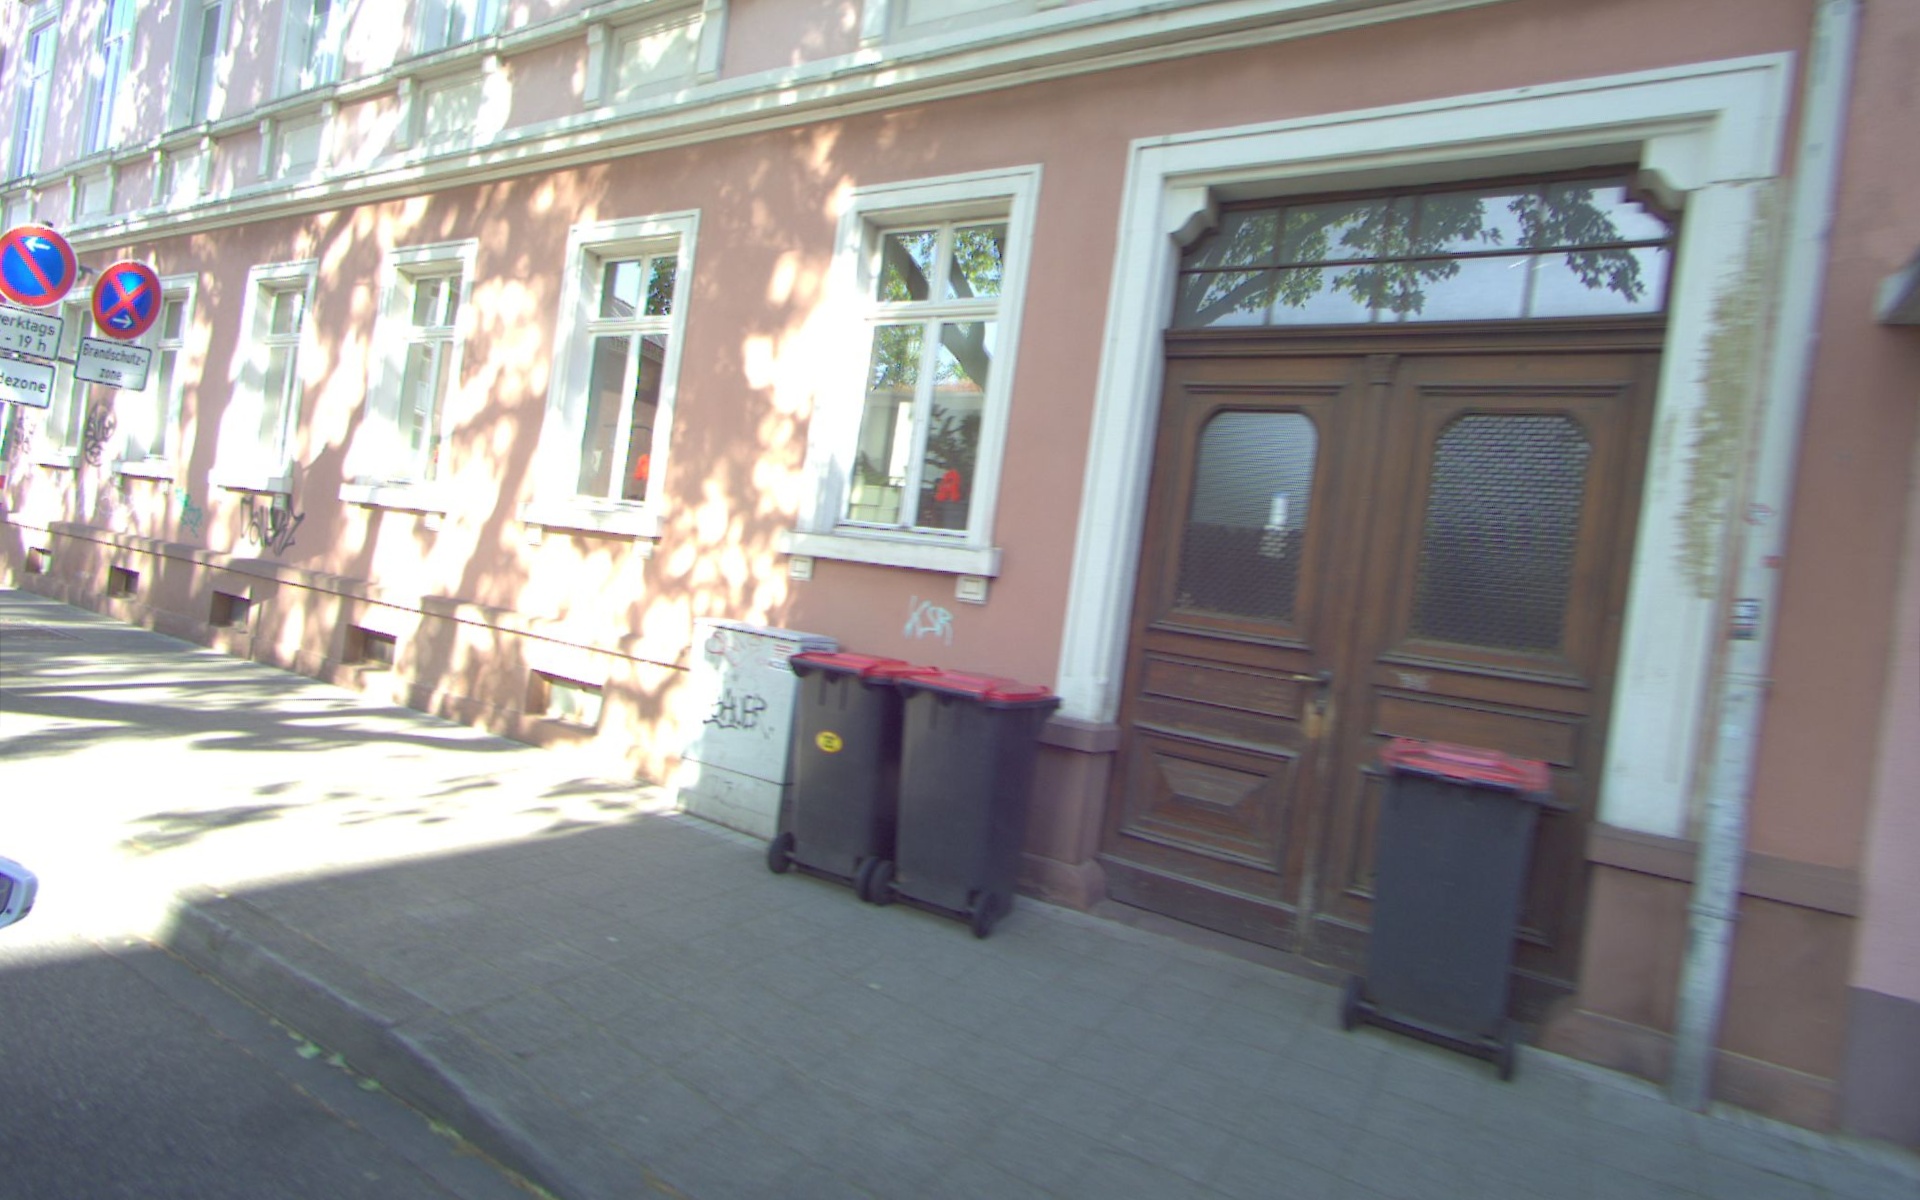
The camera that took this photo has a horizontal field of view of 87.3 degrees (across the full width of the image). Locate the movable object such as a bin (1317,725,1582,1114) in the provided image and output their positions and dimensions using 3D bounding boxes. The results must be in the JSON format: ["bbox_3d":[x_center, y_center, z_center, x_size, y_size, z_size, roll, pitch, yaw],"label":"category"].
[{"bbox_3d":[1.791,1.076,3.688,0.681,1.117,0.731,7,0,29],"label":"movable object such as a bin"}]

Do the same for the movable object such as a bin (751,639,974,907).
[{"bbox_3d":[-0.454,0.790,4.844,0.624,1.099,0.746,7,0,33],"label":"movable object such as a bin"}]

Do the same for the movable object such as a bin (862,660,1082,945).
[{"bbox_3d":[0.069,0.859,4.516,0.587,1.086,0.702,7,0,33],"label":"movable object such as a bin"}]

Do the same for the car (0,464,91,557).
[{"bbox_3d":[-23.994,-2.386,23.756,4.862,1.950,1.983,9,-3,-34],"label":"car"}]
